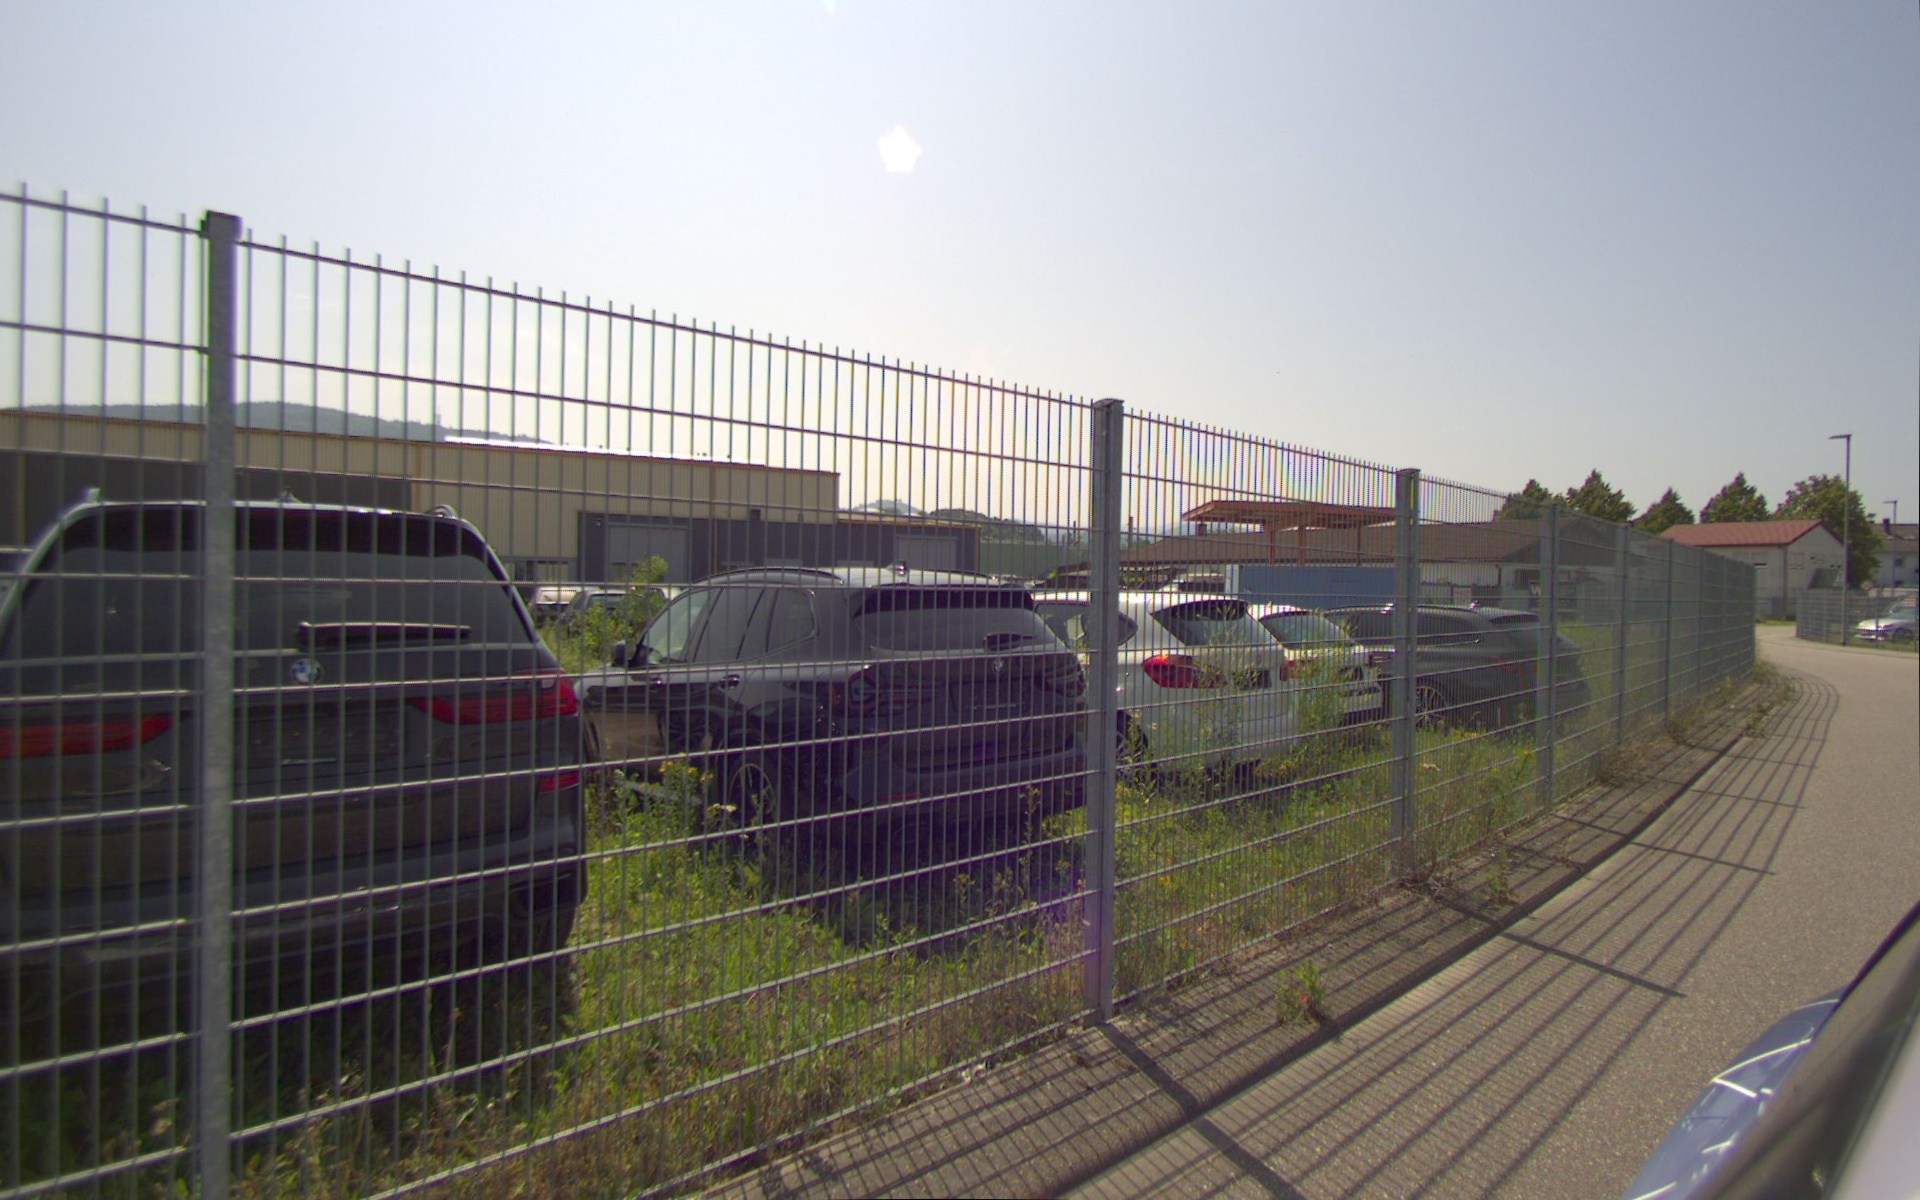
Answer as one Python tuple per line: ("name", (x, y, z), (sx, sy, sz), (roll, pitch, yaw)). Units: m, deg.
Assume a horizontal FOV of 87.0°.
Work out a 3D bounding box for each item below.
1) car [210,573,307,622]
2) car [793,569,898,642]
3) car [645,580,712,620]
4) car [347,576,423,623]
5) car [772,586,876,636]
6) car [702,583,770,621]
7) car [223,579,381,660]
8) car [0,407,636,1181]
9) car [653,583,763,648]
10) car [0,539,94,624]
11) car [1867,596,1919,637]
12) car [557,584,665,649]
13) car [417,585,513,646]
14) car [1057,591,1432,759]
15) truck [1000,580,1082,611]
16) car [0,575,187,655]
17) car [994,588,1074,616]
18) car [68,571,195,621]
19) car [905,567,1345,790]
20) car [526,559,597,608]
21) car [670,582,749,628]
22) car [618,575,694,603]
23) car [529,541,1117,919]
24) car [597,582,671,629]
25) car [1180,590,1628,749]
("car", (-22.217, -0.108, 32.202), (1.933, 1.403, 4.397), (1, 1, -27))
("car", (-3.522, 0.102, 30.317), (1.804, 2.006, 4.398), (1, 1, -25))
("car", (-10.774, -0.017, 38.534), (1.804, 1.382, 4.398), (1, 1, -25))
("car", (-18.870, -0.041, 33.369), (1.804, 1.395, 4.398), (1, 1, -25))
("car", (-3.469, 0.245, 25.341), (1.637, 1.122, 3.382), (1, 1, -25))
("car", (-9.167, 0.062, 41.158), (1.804, 1.395, 4.398), (1, 1, -25))
("car", (-12.153, 0.294, 18.982), (1.840, 1.291, 4.398), (1, 1, -25))
("car", (-3.166, 0.383, 4.577), (1.710, 1.791, 4.698), (1, 1, -38))
("car", (-6.196, 0.326, 24.544), (1.804, 1.362, 4.398), (1, 1, -25))
("car", (-25.934, -0.539, 28.065), (1.933, 2.199, 4.397), (1, 1, -27))
("car", (39.110, 0.659, 40.240), (4.368, 1.590, 1.801), (1, 1, 37))
("car", (-7.725, 0.301, 22.169), (1.804, 1.221, 4.398), (1, 1, -25))
("car", (-10.100, 0.265, 20.830), (1.585, 1.046, 4.398), (1, 1, -25))
("car", (2.746, 0.621, 10.410), (1.610, 1.334, 3.478), (1, 1, -35))
("truck", (5.088, -0.284, 63.717), (4.700, 1.820, 2.065), (1, 1, -23))
("car", (-15.297, 0.191, 17.962), (1.544, 1.198, 4.398), (1, 1, -25))
("car", (3.915, 0.106, 53.377), (3.917, 1.404, 1.678), (0, 1, -25))
("car", (-23.851, -0.153, 29.326), (1.933, 1.339, 4.397), (1, 1, -27))
("car", (1.195, 0.476, 8.437), (1.490, 1.435, 3.472), (0, 1, -41))
("car", (-12.381, -0.533, 31.295), (1.804, 1.395, 4.398), (1, 1, -25))
("car", (-8.540, 0.131, 34.263), (1.804, 1.395, 4.398), (1, 1, -25))
("car", (-16.003, -0.588, 53.307), (3.450, 1.395, 1.844), (1, 1, -32))
("car", (-1.196, 0.496, 6.521), (1.663, 1.623, 4.303), (0, 1, -41))
("car", (-10.754, 0.142, 33.227), (1.804, 1.395, 4.398), (1, 1, -25))
("car", (4.716, 0.614, 11.417), (1.686, 1.334, 4.391), (1, 1, -35))
